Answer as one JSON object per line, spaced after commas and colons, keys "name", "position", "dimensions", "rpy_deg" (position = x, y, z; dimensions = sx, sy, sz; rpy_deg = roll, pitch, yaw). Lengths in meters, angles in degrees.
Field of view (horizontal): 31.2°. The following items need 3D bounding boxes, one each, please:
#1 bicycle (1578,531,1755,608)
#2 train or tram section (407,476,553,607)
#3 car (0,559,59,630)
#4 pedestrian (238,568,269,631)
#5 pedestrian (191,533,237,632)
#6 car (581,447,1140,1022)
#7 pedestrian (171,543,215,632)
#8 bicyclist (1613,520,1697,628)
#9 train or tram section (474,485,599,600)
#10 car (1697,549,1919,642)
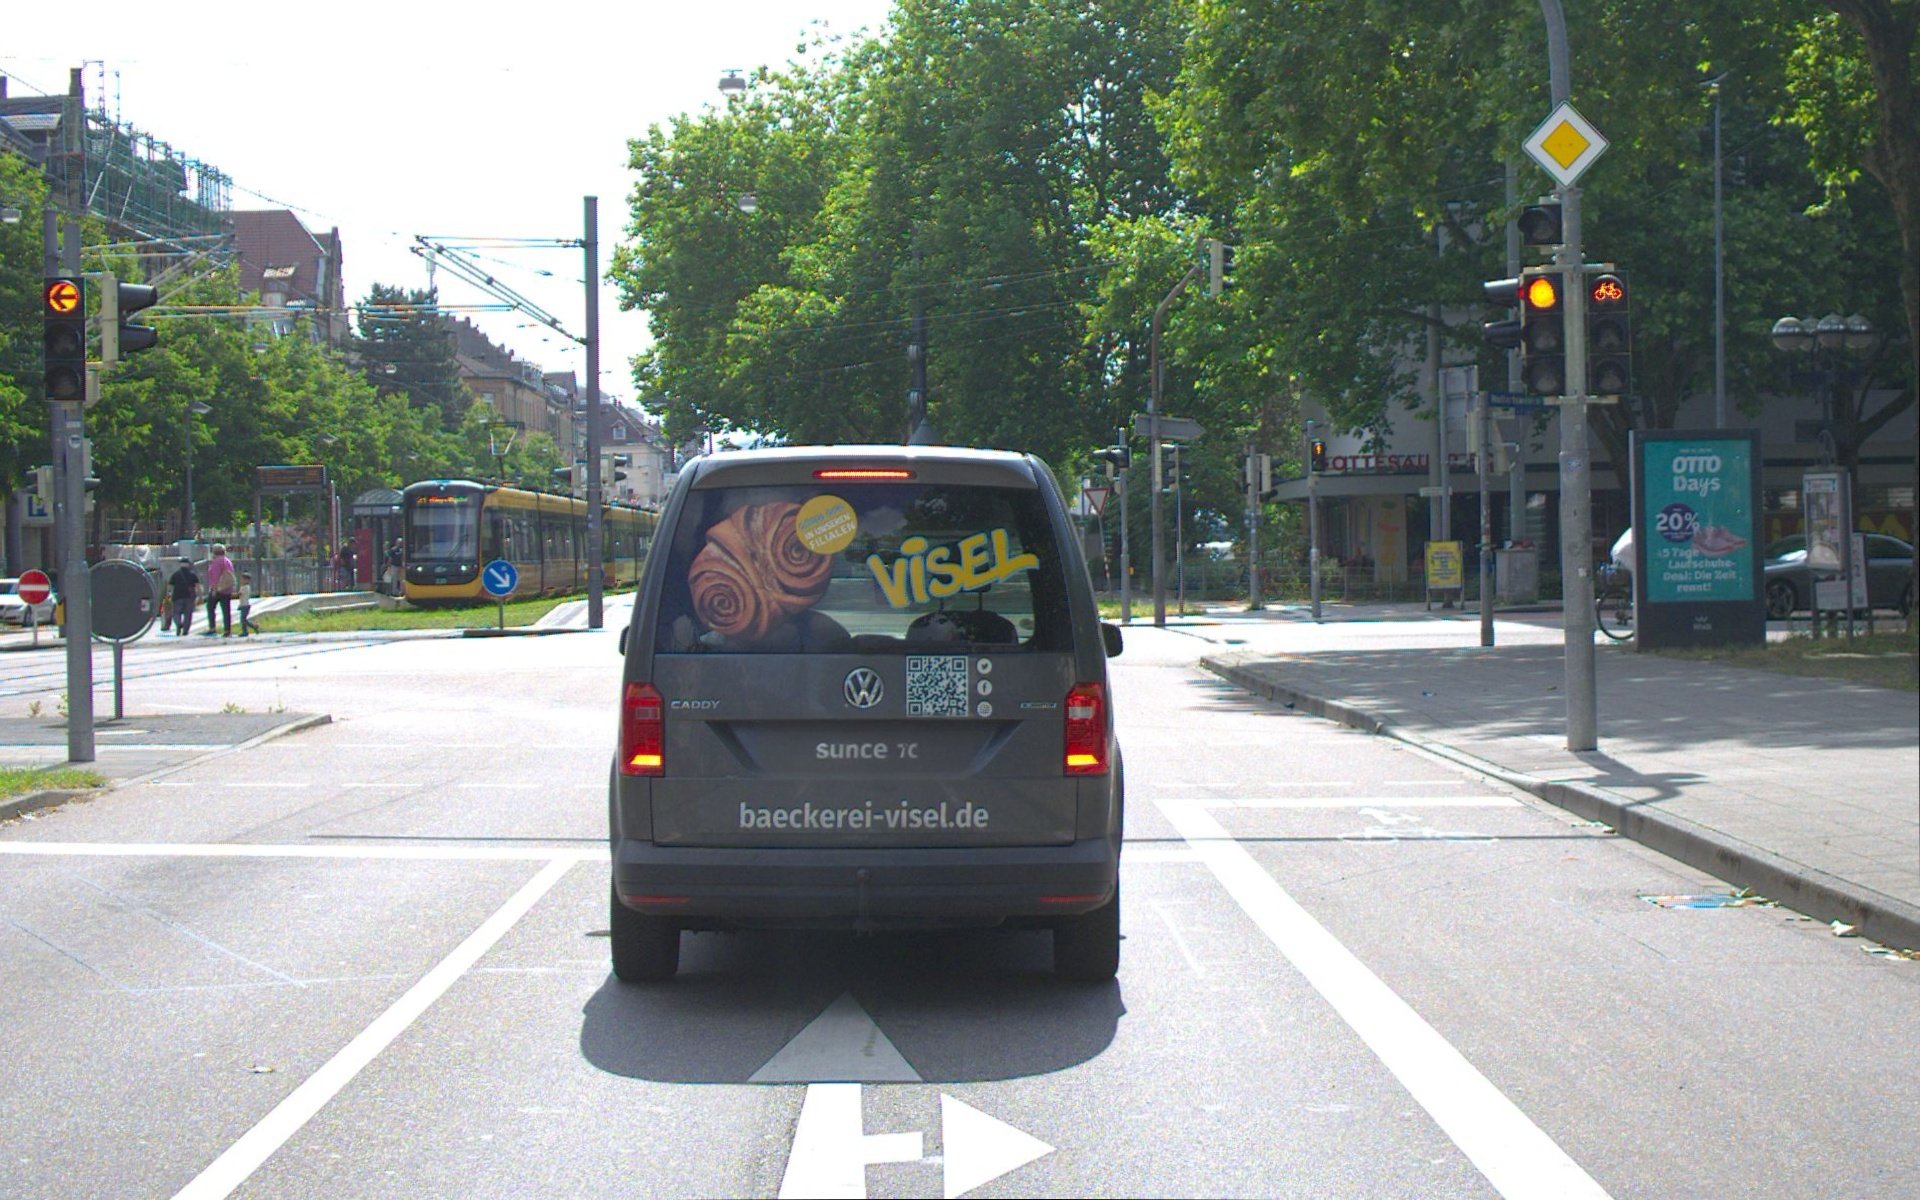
{"name": "bicycle", "position": [10.060, -0.440, 49.007], "dimensions": [2.301, 1.045, 0.897], "rpy_deg": [-1, 1, -2]}
{"name": "train or tram section", "position": [-13.127, -1.644, 95.068], "dimensions": [2.240, 3.320, 12.972], "rpy_deg": [-1, 1, 0]}
{"name": "car", "position": [-28.144, -0.175, 101.591], "dimensions": [1.993, 2.007, 4.000], "rpy_deg": [-1, 1, -1]}
{"name": "pedestrian", "position": [-12.994, -0.005, 63.246], "dimensions": [0.463, 1.140, 0.435], "rpy_deg": [-1, 1, 0]}
{"name": "pedestrian", "position": [-13.683, -0.327, 63.092], "dimensions": [0.659, 1.778, 0.660], "rpy_deg": [-1, 1, 0]}
{"name": "car", "position": [-0.327, 0.390, 12.555], "dimensions": [1.750, 1.802, 3.475], "rpy_deg": [0, 1, 0]}
{"name": "pedestrian", "position": [-14.711, -0.251, 65.943], "dimensions": [0.659, 1.679, 0.655], "rpy_deg": [-1, 1, 0]}
{"name": "bicyclist", "position": [9.963, -0.380, 49.298], "dimensions": [0.997, 1.506, 0.781], "rpy_deg": [-1, 1, -2]}
{"name": "train or tram section", "position": [-13.241, -1.834, 108.542], "dimensions": [2.240, 3.320, 14.014], "rpy_deg": [-1, 1, 0]}
{"name": "car", "position": [14.430, -0.097, 56.257], "dimensions": [4.480, 1.385, 1.707], "rpy_deg": [-2, 1, -24]}
